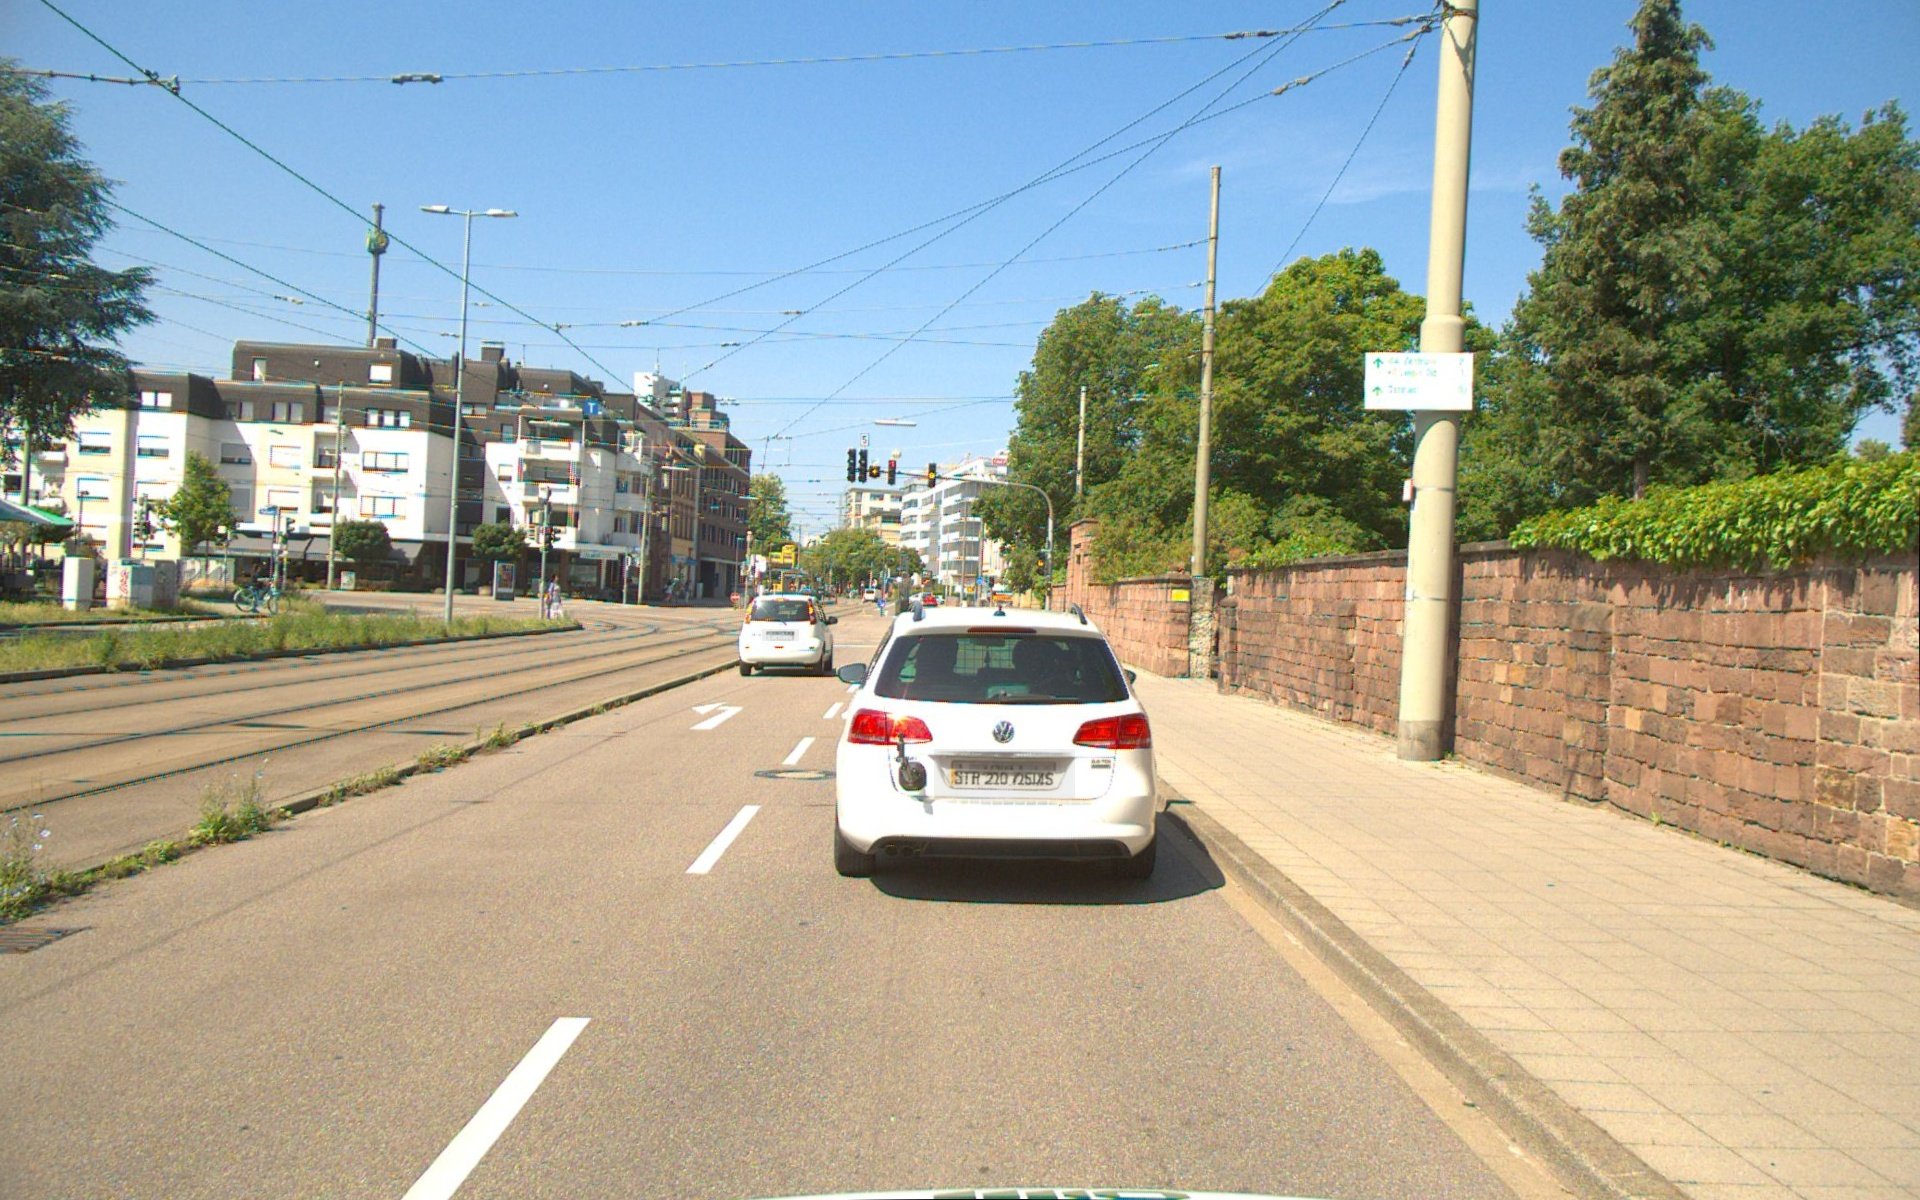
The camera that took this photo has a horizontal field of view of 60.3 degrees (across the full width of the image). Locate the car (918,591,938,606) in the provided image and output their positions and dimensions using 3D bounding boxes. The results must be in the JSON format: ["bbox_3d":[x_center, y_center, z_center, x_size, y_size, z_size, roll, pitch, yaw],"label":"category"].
[{"bbox_3d":[-4.575,-0.176,234.298,1.960,2.049,3.985,2,0,-15],"label":"car"}]

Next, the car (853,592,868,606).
[{"bbox_3d":[-12.486,-0.138,207.284,1.664,1.619,3.533,2,0,-2],"label":"car"}]

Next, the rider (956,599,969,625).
[{"bbox_3d":[0.178,0.827,116.796,0.873,1.759,2.203,2,0,0],"label":"rider"}]

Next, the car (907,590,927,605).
[{"bbox_3d":[-5.822,-0.340,221.980,1.958,1.937,3.989,2,0,-12],"label":"car"}]

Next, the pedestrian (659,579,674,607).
[{"bbox_3d":[-21.694,-0.521,122.223,0.918,2.049,0.990,2,0,-5],"label":"pedestrian"}]

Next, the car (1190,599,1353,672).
[{"bbox_3d":[7.017,0.787,37.441,3.338,1.489,1.524,3,0,-1],"label":"car"}]

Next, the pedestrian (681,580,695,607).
[{"bbox_3d":[-21.007,-0.507,127.767,0.919,2.049,0.989,2,0,-7],"label":"pedestrian"}]

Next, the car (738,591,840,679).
[{"bbox_3d":[-3.402,0.670,33.514,1.695,1.624,4.010,2,0,-2],"label":"car"}]

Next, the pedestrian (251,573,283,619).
[{"bbox_3d":[-23.054,-0.131,55.039,0.810,1.513,0.557,2,0,-44],"label":"pedestrian"}]

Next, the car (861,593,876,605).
[{"bbox_3d":[-13.277,-0.152,238.955,1.668,1.619,3.525,2,0,-11],"label":"car"}]

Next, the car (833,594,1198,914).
[{"bbox_3d":[0.260,0.729,9.837,1.742,1.516,3.846,0,0,0],"label":"car"}]

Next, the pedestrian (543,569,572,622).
[{"bbox_3d":[-13.753,-0.142,56.516,0.811,1.769,0.930,2,0,-9],"label":"pedestrian"}]

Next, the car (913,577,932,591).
[{"bbox_3d":[-5.635,-2.400,248.777,1.960,2.049,3.985,2,0,-15],"label":"car"}]

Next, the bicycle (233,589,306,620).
[{"bbox_3d":[-22.753,0.156,54.557,0.544,0.937,2.161,2,0,45],"label":"bicycle"}]

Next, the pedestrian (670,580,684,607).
[{"bbox_3d":[-21.796,-0.535,127.563,0.919,2.049,0.989,2,0,-6],"label":"pedestrian"}]
